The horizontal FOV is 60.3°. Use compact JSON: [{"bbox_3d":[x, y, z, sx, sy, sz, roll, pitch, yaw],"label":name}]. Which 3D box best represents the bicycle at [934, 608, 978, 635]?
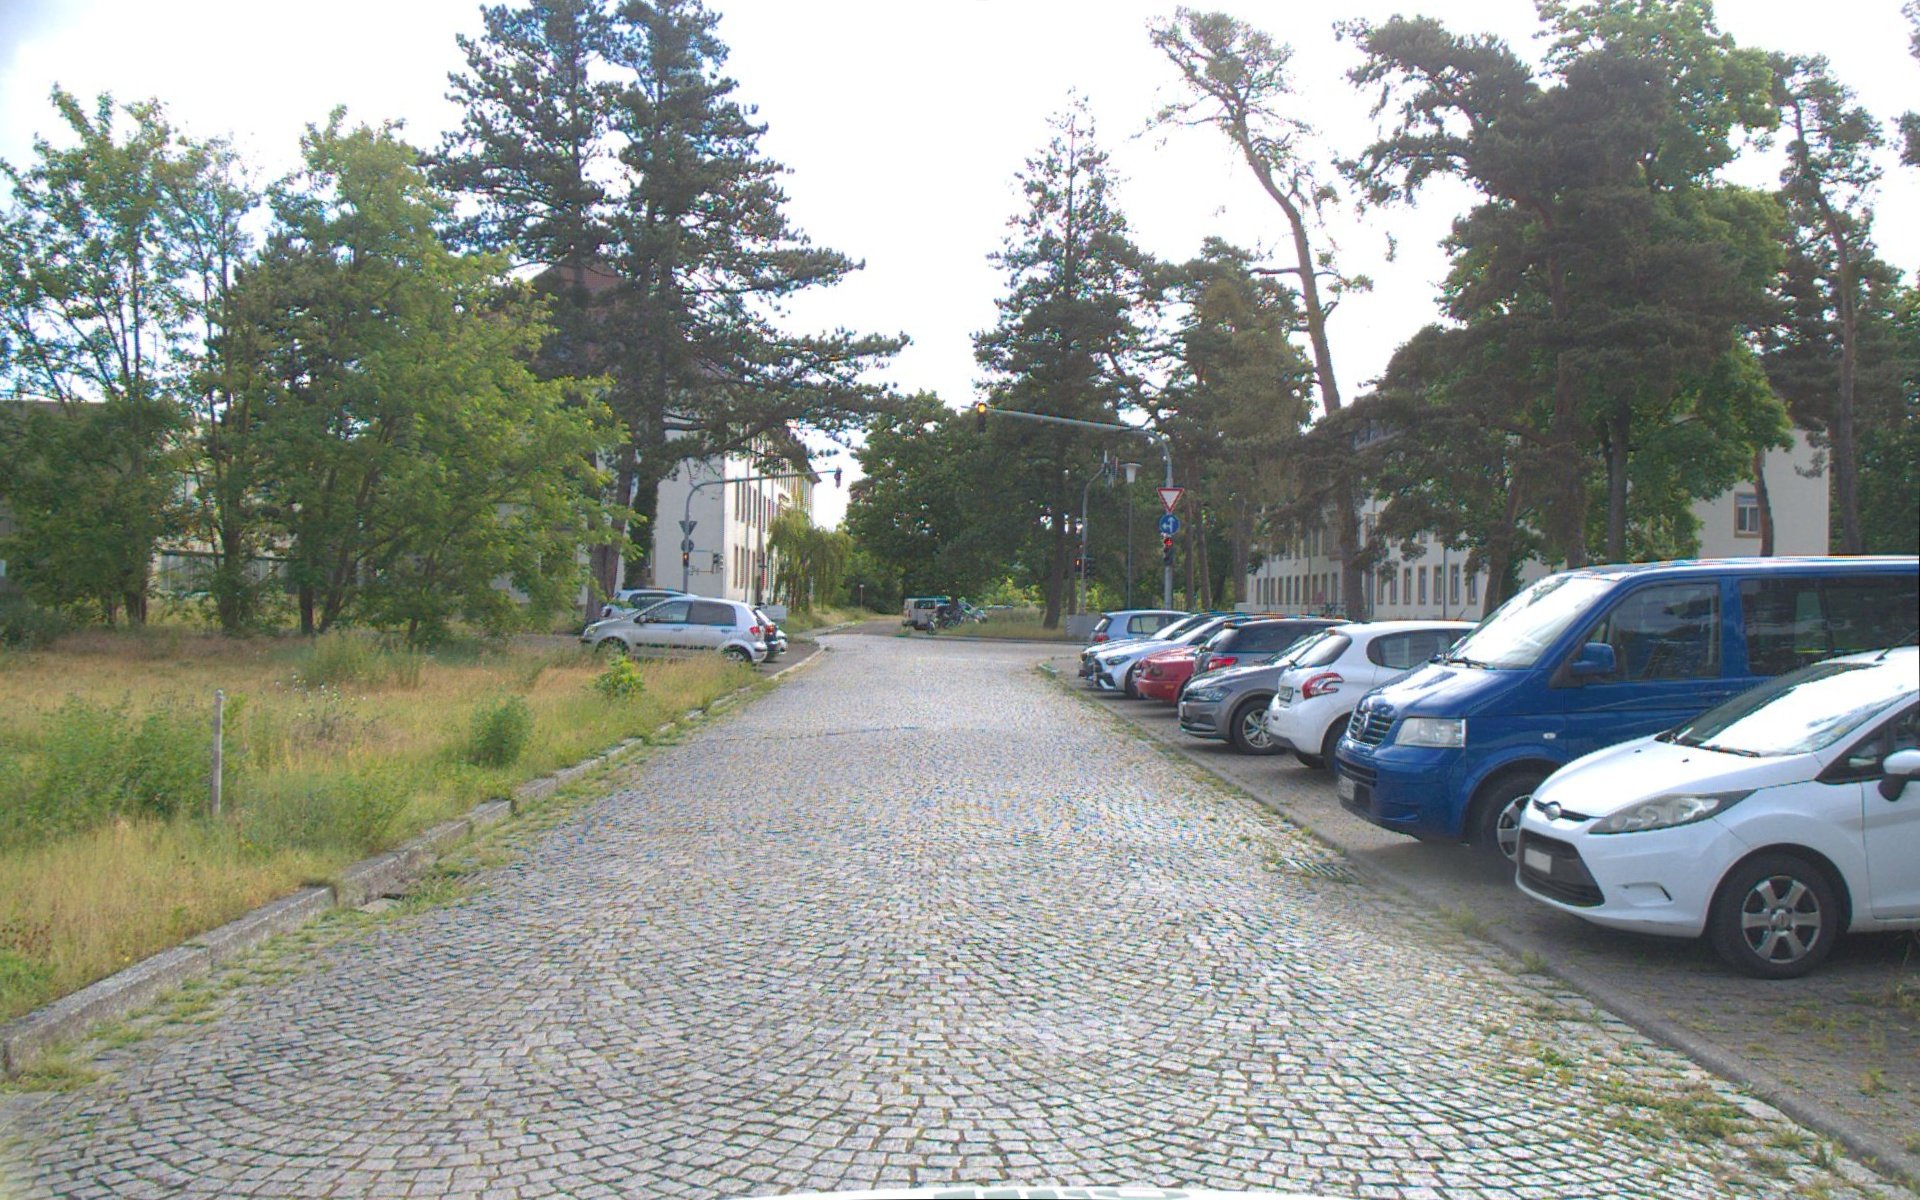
[{"bbox_3d":[-0.217,1.102,84.061,2.120,1.290,0.811,1,0,-8],"label":"bicycle"}]

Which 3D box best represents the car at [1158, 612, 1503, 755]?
[{"bbox_3d":[4.246,0.951,19.168,3.535,1.533,1.659,1,0,-13],"label":"car"}]

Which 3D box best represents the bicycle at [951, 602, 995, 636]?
[{"bbox_3d":[0.680,0.974,84.801,2.120,1.644,0.811,1,0,-8],"label":"bicycle"}]

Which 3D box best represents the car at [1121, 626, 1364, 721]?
[{"bbox_3d":[4.187,1.081,24.759,3.230,1.289,1.661,1,0,-7],"label":"car"}]

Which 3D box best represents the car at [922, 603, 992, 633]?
[{"bbox_3d":[-0.192,1.058,98.025,3.912,1.673,1.997,2,0,-8],"label":"car"}]

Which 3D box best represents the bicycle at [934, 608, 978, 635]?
[{"bbox_3d":[-0.198,1.094,83.474,2.120,1.290,0.811,1,0,-8],"label":"bicycle"}]

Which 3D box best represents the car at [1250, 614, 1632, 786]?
[{"bbox_3d":[4.644,0.945,16.259,3.227,1.531,1.663,1,0,-4],"label":"car"}]

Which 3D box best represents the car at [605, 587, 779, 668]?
[{"bbox_3d":[-6.283,0.643,38.985,3.913,1.780,1.923,2,0,-9],"label":"car"}]

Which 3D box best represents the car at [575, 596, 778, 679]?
[{"bbox_3d":[-5.677,0.743,33.504,3.912,1.579,1.997,1,0,-8],"label":"car"}]

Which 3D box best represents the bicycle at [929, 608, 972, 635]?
[{"bbox_3d":[-0.482,1.111,85.267,2.120,1.290,0.811,1,0,-8],"label":"bicycle"}]

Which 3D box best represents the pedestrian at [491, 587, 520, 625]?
[{"bbox_3d":[-18.438,0.250,67.073,0.880,1.524,0.904,1,0,-1],"label":"pedestrian"}]

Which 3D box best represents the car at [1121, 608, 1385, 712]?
[{"bbox_3d":[4.740,0.962,27.026,3.911,1.570,1.661,2,0,-8],"label":"car"}]

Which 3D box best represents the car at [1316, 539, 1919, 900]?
[{"bbox_3d":[4.896,0.753,10.835,4.688,2.075,1.737,2,0,-4],"label":"car"}]

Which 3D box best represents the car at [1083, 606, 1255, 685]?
[{"bbox_3d":[4.359,0.941,34.633,3.325,1.570,1.389,1,0,-8],"label":"car"}]

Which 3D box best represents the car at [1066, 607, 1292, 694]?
[{"bbox_3d":[4.203,0.963,32.058,4.044,1.570,1.661,1,0,-8],"label":"car"}]

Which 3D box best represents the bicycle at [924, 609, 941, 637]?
[{"bbox_3d":[-1.329,1.086,79.678,0.793,1.290,1.973,1,0,0],"label":"bicycle"}]

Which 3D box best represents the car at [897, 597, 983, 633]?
[{"bbox_3d":[-1.221,0.931,101.271,4.962,2.049,1.994,2,0,-12],"label":"car"}]

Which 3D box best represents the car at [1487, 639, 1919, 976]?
[{"bbox_3d":[4.751,0.945,8.344,3.649,1.449,1.653,0,0,-4],"label":"car"}]

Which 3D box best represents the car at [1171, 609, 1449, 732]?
[{"bbox_3d":[4.634,0.928,22.059,3.235,1.531,1.659,1,0,-12],"label":"car"}]

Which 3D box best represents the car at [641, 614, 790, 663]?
[{"bbox_3d":[-6.069,0.953,41.250,3.602,1.113,1.643,1,0,-8],"label":"car"}]

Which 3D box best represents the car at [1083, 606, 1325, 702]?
[{"bbox_3d":[4.271,0.943,29.245,3.911,1.570,1.661,1,0,-8],"label":"car"}]

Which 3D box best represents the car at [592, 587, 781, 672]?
[{"bbox_3d":[-5.889,0.631,35.986,3.912,1.736,1.997,1,0,-8],"label":"car"}]
